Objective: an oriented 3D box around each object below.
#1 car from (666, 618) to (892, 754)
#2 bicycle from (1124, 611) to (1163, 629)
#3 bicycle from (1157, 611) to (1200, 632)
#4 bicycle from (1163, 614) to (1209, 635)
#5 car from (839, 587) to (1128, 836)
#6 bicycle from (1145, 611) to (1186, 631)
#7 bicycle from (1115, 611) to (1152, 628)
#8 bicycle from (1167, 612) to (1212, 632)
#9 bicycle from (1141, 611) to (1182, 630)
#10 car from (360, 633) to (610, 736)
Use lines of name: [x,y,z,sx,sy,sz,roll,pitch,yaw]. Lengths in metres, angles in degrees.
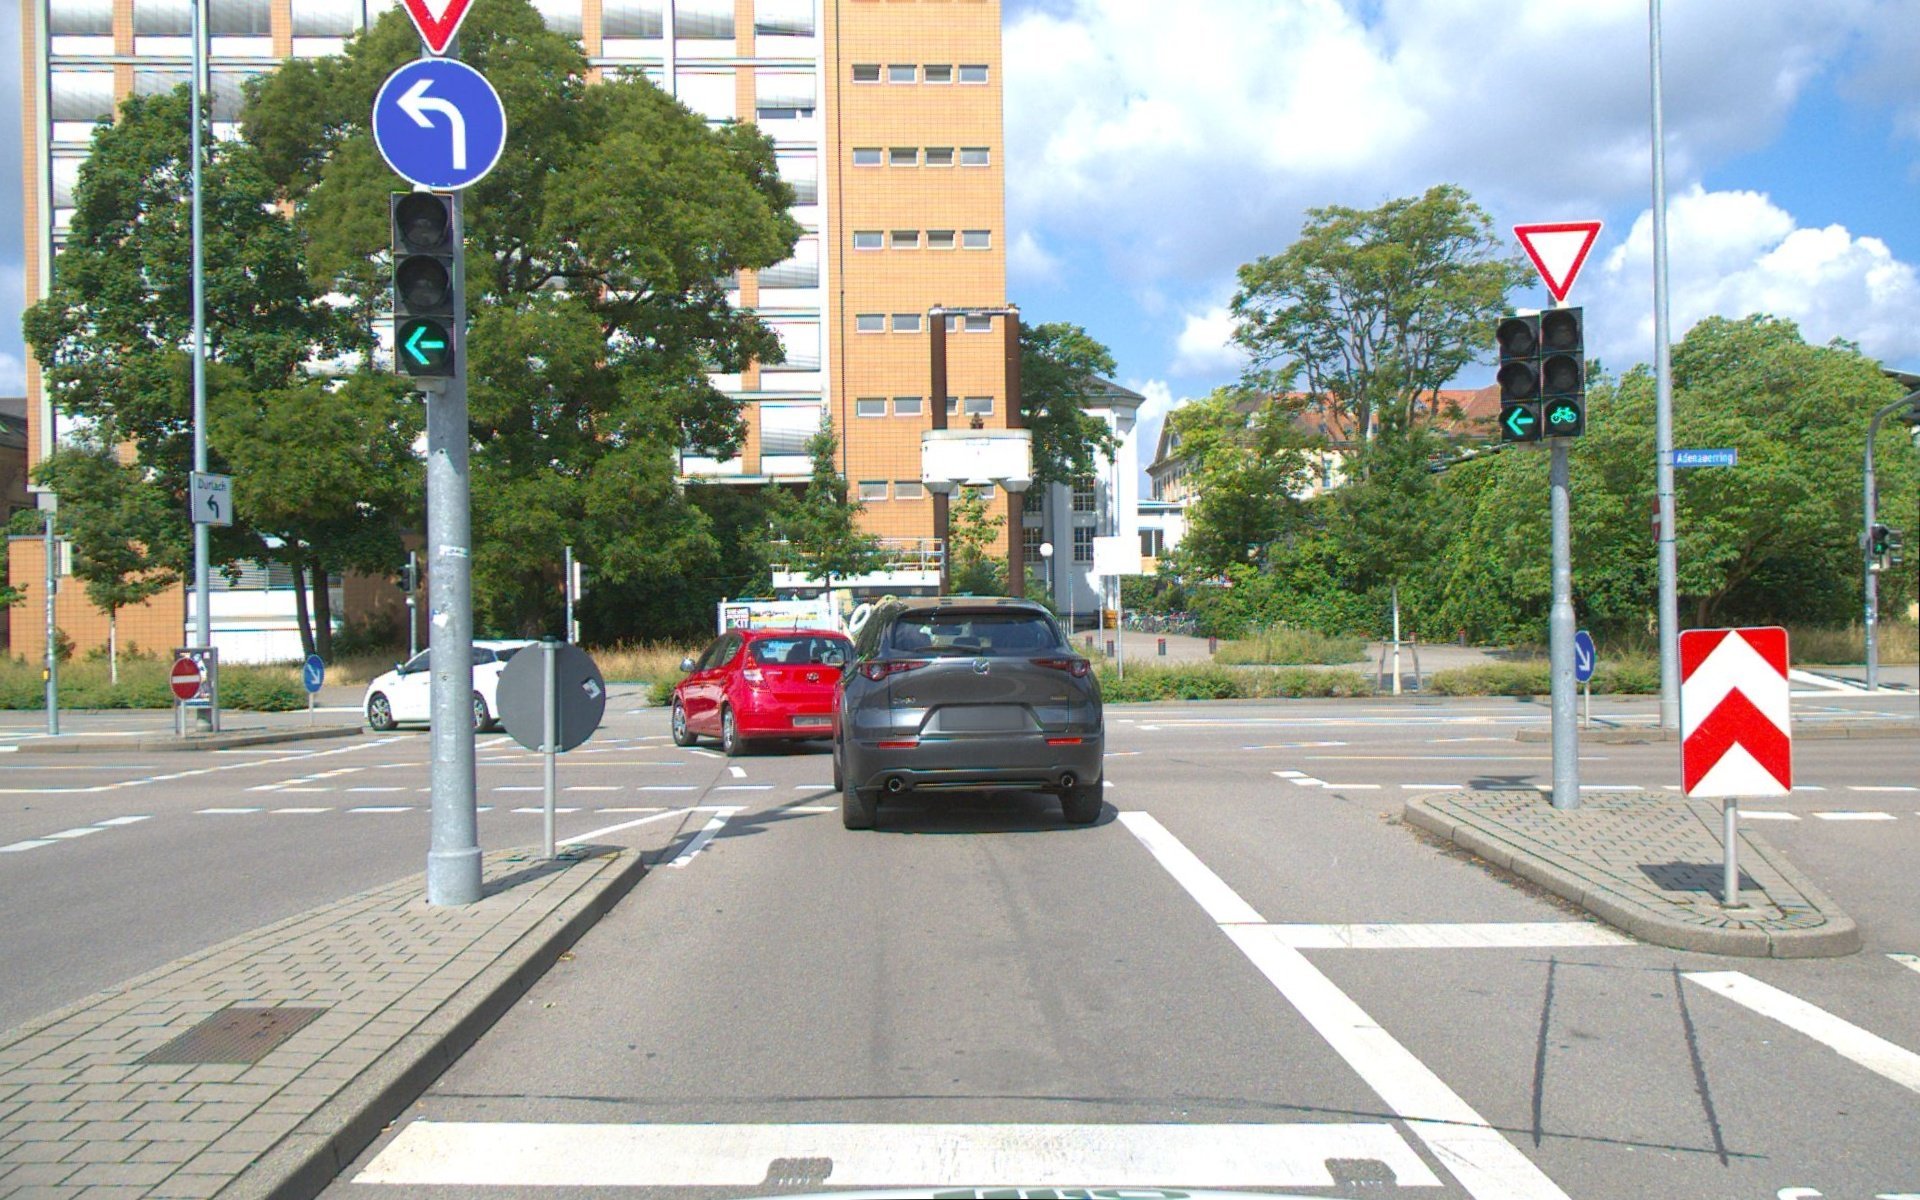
car: [-2.349,1.020,20.470,1.791,1.465,4.040,-1,-2,-21]
bicycle: [10.049,1.103,90.482,2.014,0.953,0.803,-1,-1,-3]
bicycle: [10.861,1.076,82.295,2.014,0.953,0.803,-1,-1,-3]
bicycle: [10.684,1.153,78.307,2.014,0.953,0.803,-1,-1,-3]
car: [-0.001,0.701,12.408,1.771,1.534,4.200,0,0,-5]
bicycle: [10.657,1.090,85.769,2.014,0.953,0.803,-1,-1,-3]
bicycle: [10.000,1.123,95.341,2.014,0.953,0.803,-1,-1,-3]
bicycle: [11.232,1.075,80.969,2.014,0.953,0.803,-1,-1,-3]
bicycle: [10.555,1.091,86.760,2.014,0.953,0.803,-1,-1,-3]
car: [-7.836,1.347,27.094,4.253,1.498,1.845,-2,0,39]
